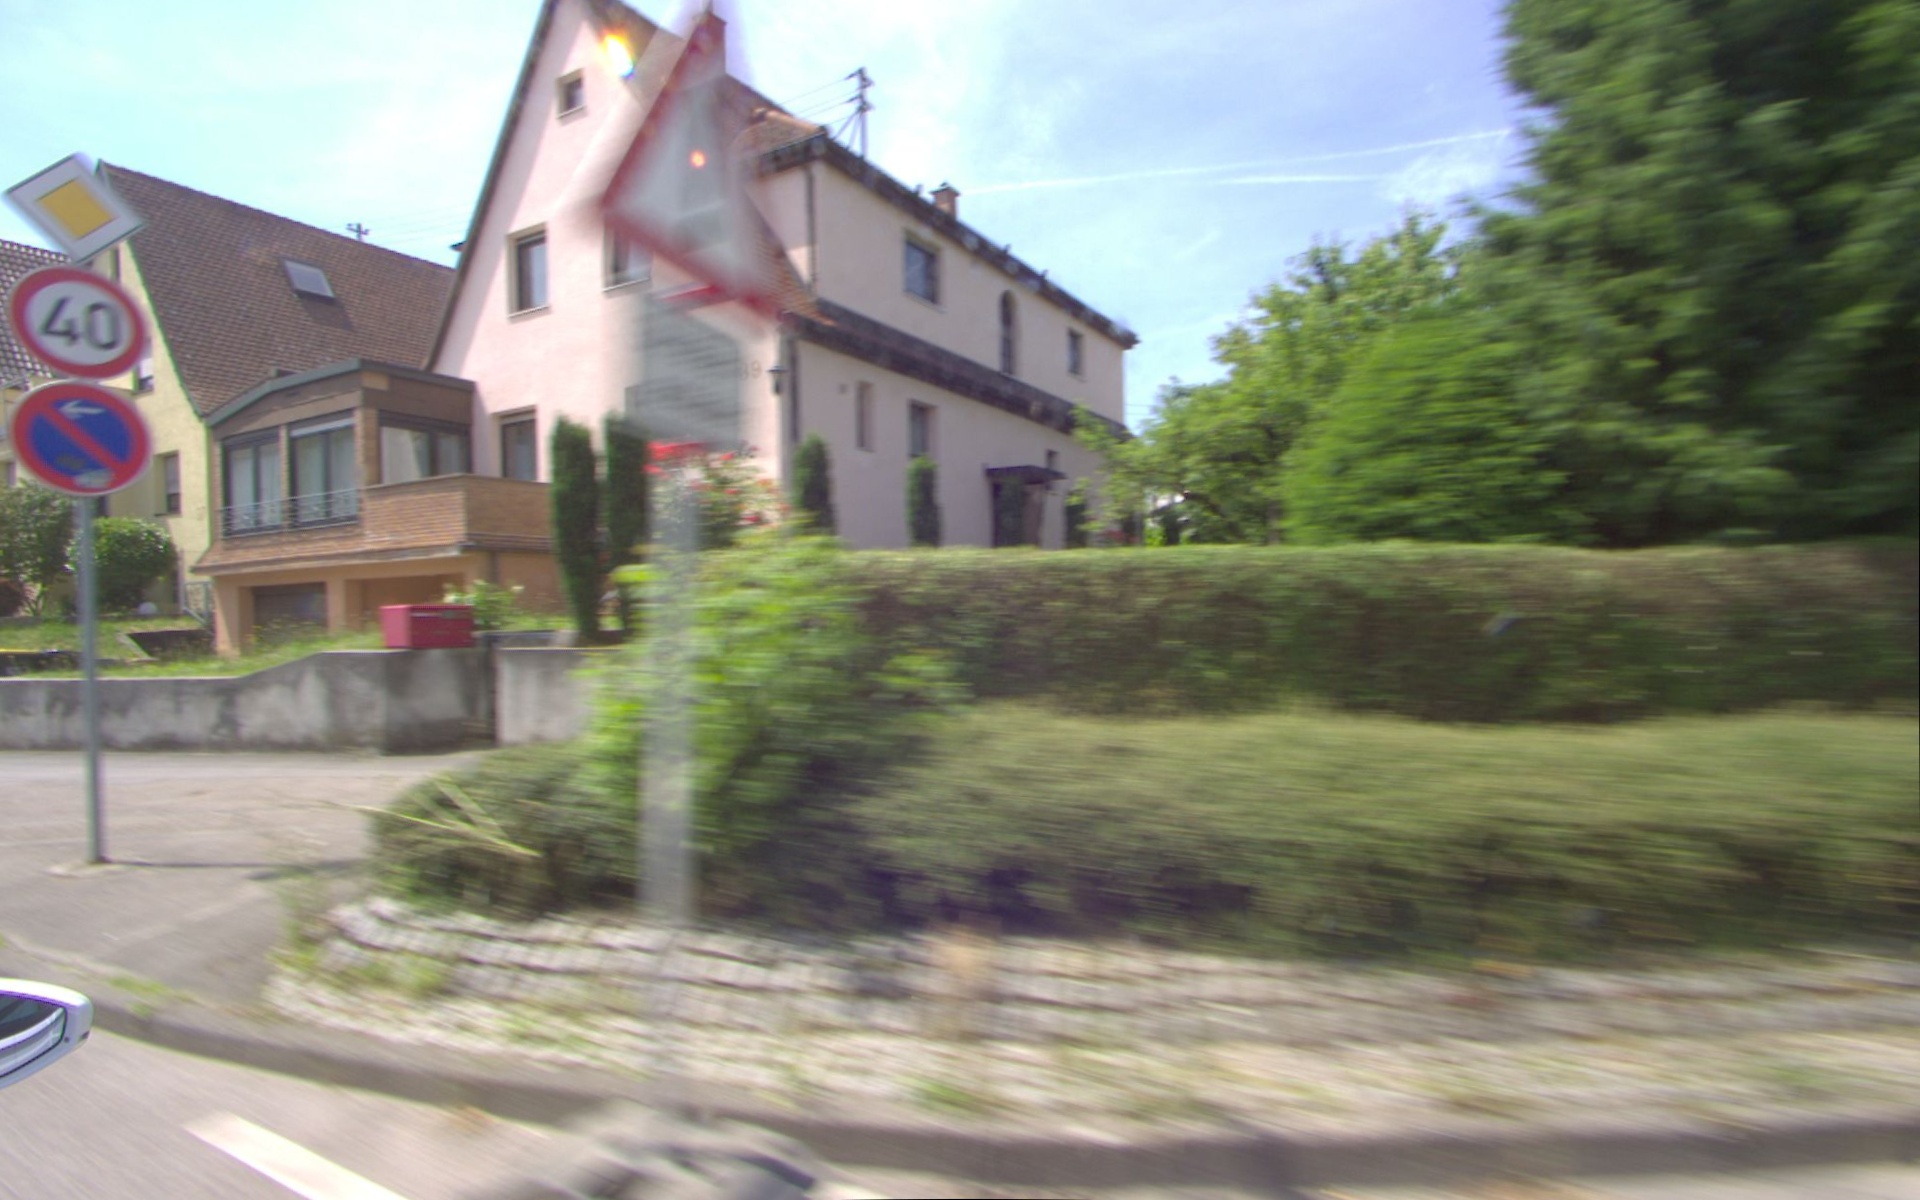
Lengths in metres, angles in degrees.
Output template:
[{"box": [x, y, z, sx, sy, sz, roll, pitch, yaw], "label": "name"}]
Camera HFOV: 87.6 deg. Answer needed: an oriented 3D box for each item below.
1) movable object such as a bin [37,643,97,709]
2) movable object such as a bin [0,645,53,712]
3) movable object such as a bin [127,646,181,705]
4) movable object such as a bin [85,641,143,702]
[{"box": [-14.195, 1.208, 15.920, 0.555, 1.001, 0.528, 0, -4, 32], "label": "movable object such as a bin"}, {"box": [-14.487, 1.208, 15.445, 0.555, 1.001, 0.528, 0, -5, 32], "label": "movable object such as a bin"}, {"box": [-13.656, 1.275, 16.971, 0.555, 0.963, 0.528, 0, -2, 32], "label": "movable object such as a bin"}, {"box": [-13.903, 1.175, 16.467, 0.555, 0.963, 0.528, 0, -4, 32], "label": "movable object such as a bin"}]
